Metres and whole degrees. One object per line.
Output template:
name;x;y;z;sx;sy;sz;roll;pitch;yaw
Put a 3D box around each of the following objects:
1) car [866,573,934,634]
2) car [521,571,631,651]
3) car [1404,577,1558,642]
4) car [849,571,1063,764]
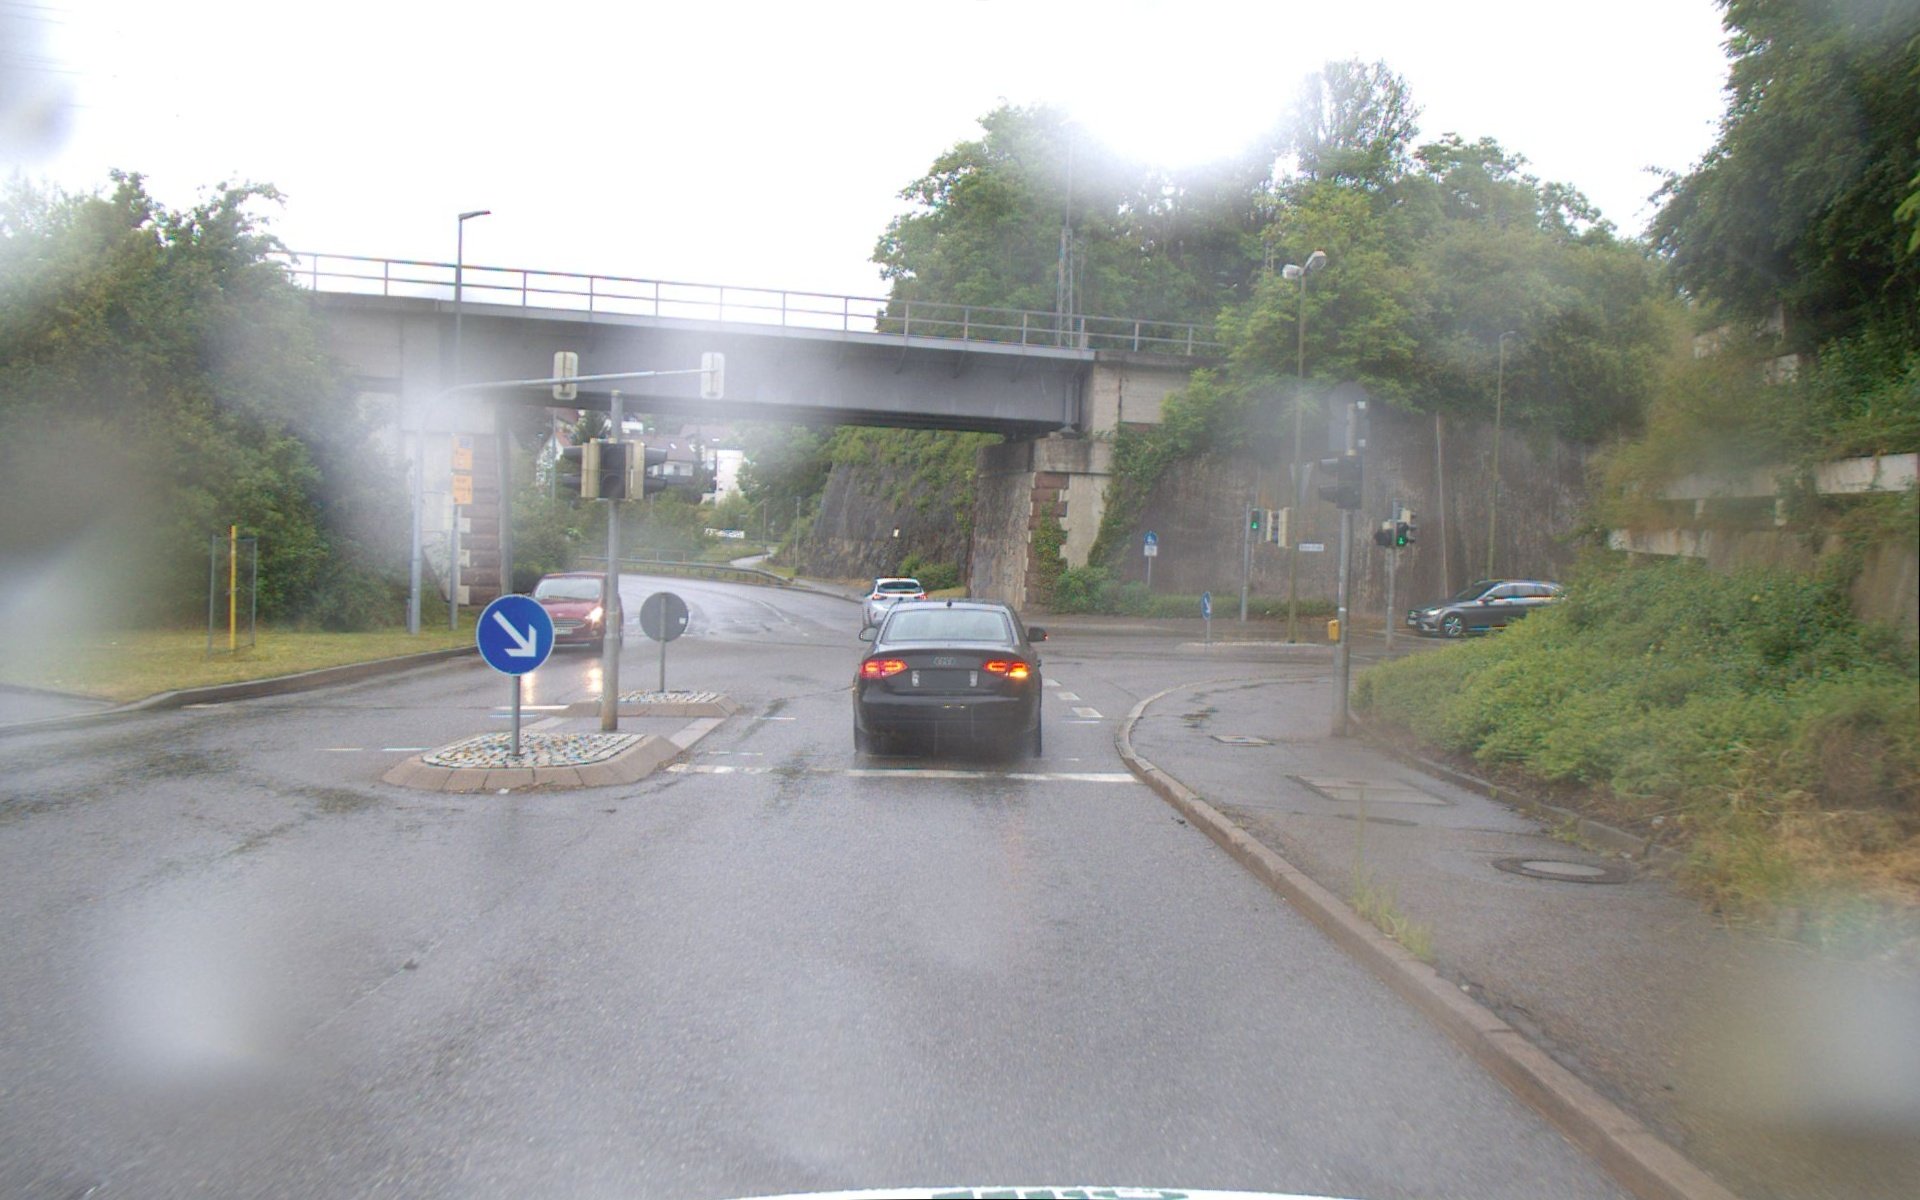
car;-1.617;0.133;45.810;1.786;1.613;3.999;1;-1;-1
car;-8.353;0.223;36.266;1.956;1.657;3.993;0;0;-8
car;13.828;0.271;43.953;3.630;1.691;1.488;0;-1;-8
car;-0.065;0.622;16.251;1.832;1.645;3.999;1;-1;-1
